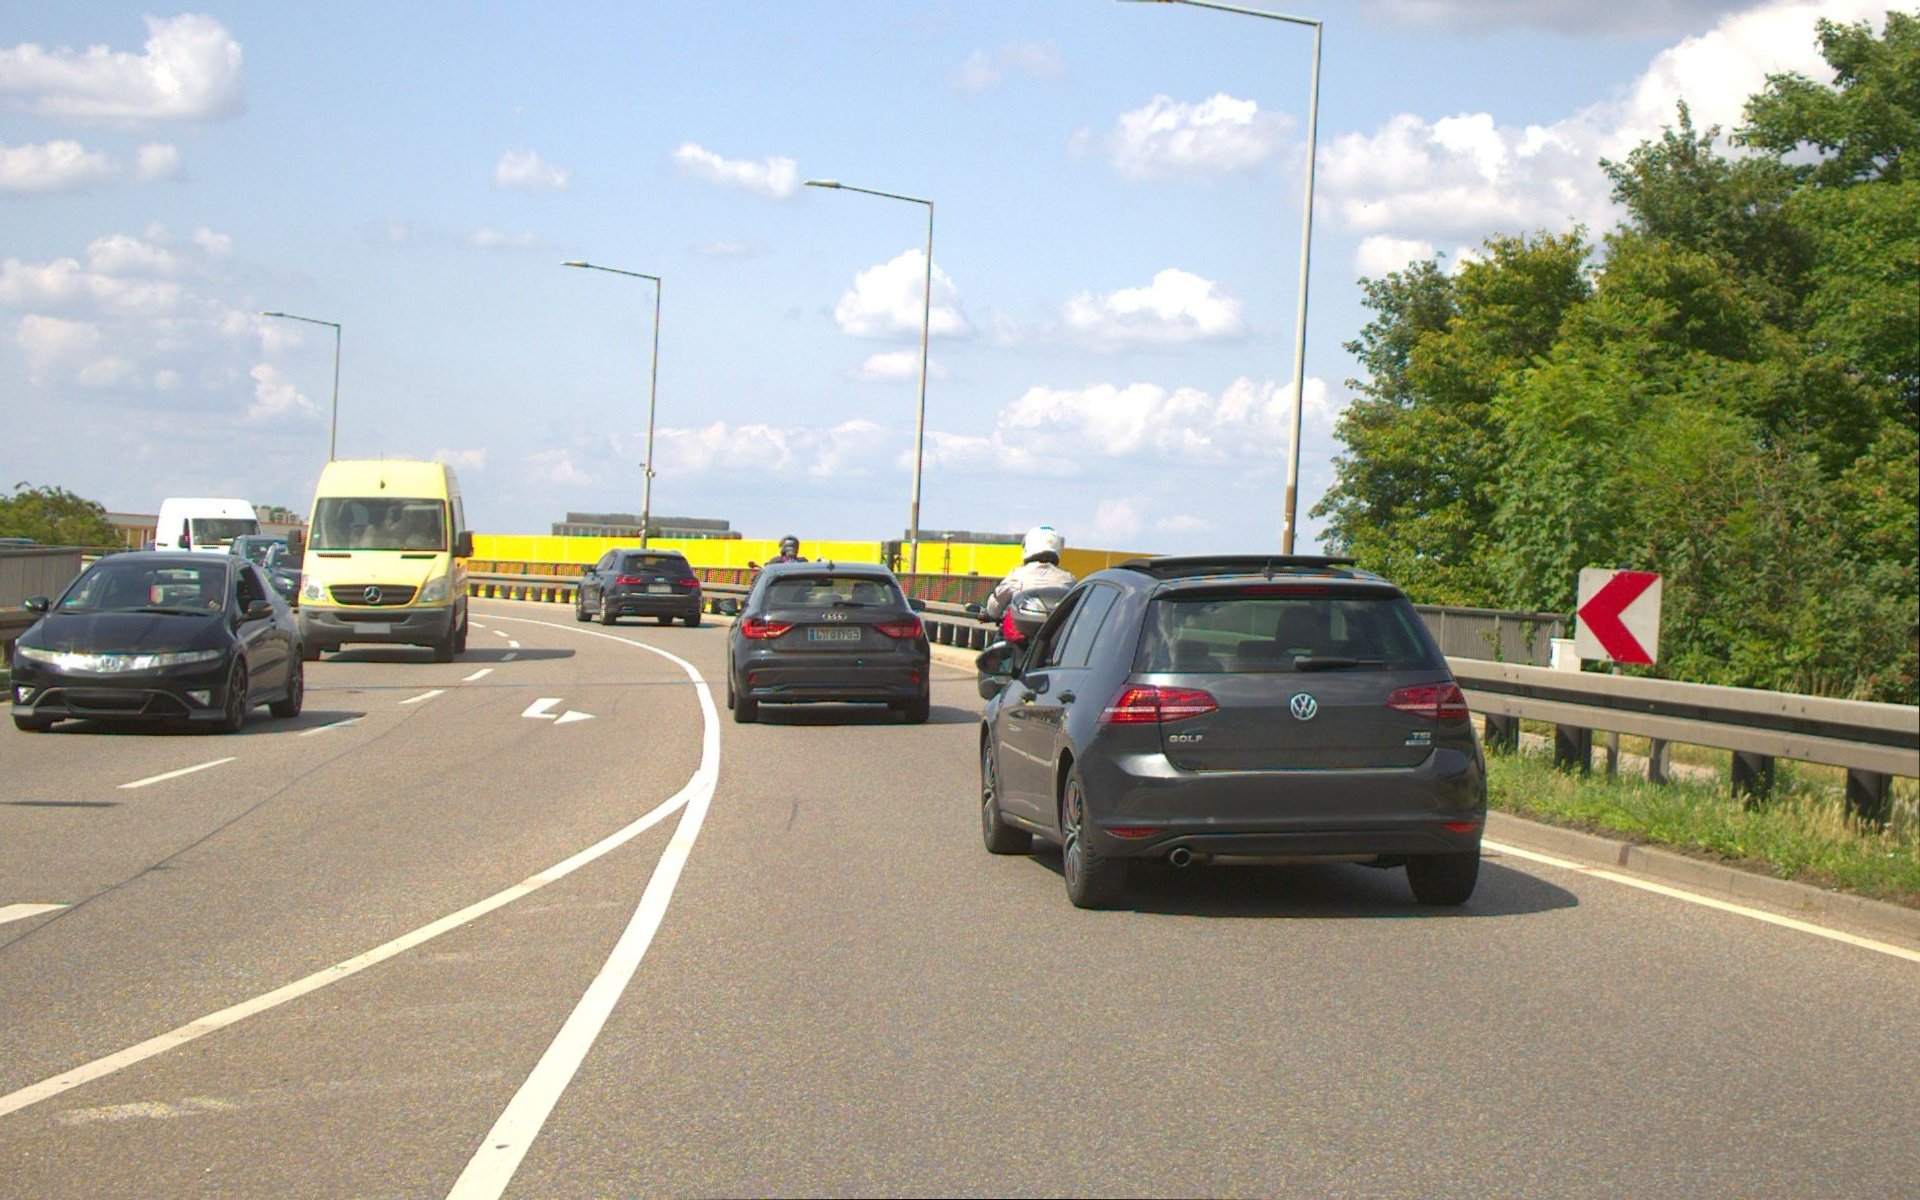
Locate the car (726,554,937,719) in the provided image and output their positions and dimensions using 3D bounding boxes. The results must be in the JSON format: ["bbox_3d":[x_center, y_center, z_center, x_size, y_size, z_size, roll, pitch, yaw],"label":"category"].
[{"bbox_3d":[-1.212,0.317,31.005,1.681,1.383,3.740,1,0,-5],"label":"car"}]

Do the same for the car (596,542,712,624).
[{"bbox_3d":[-5.866,-0.339,65.634,1.642,1.474,3.873,1,0,-13],"label":"car"}]

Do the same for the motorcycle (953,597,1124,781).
[{"bbox_3d":[0.505,0.577,23.461,0.789,1.128,2.400,2,1,-7],"label":"motorcycle"}]

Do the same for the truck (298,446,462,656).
[{"bbox_3d":[-7.735,-0.683,45.976,1.993,2.612,6.106,-1,1,-9],"label":"truck"}]

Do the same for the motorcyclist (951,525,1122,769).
[{"bbox_3d":[0.516,0.312,23.702,0.965,1.615,1.125,2,0,-8],"label":"motorcyclist"}]

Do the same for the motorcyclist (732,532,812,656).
[{"bbox_3d":[-2.487,-0.084,45.443,0.966,1.590,1.125,2,0,-5],"label":"motorcyclist"}]

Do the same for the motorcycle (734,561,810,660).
[{"bbox_3d":[-2.500,0.120,45.468,0.887,1.243,2.400,2,1,-5],"label":"motorcycle"}]

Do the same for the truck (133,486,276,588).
[{"bbox_3d":[-19.288,-1.627,87.596,1.993,2.499,5.948,0,1,-28],"label":"truck"}]

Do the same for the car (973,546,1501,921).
[{"bbox_3d":[1.125,0.523,15.729,1.642,1.474,3.873,1,0,-7],"label":"car"}]

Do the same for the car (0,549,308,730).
[{"bbox_3d":[-6.693,0.279,28.817,1.798,1.384,4.007,1,1,-2],"label":"car"}]
